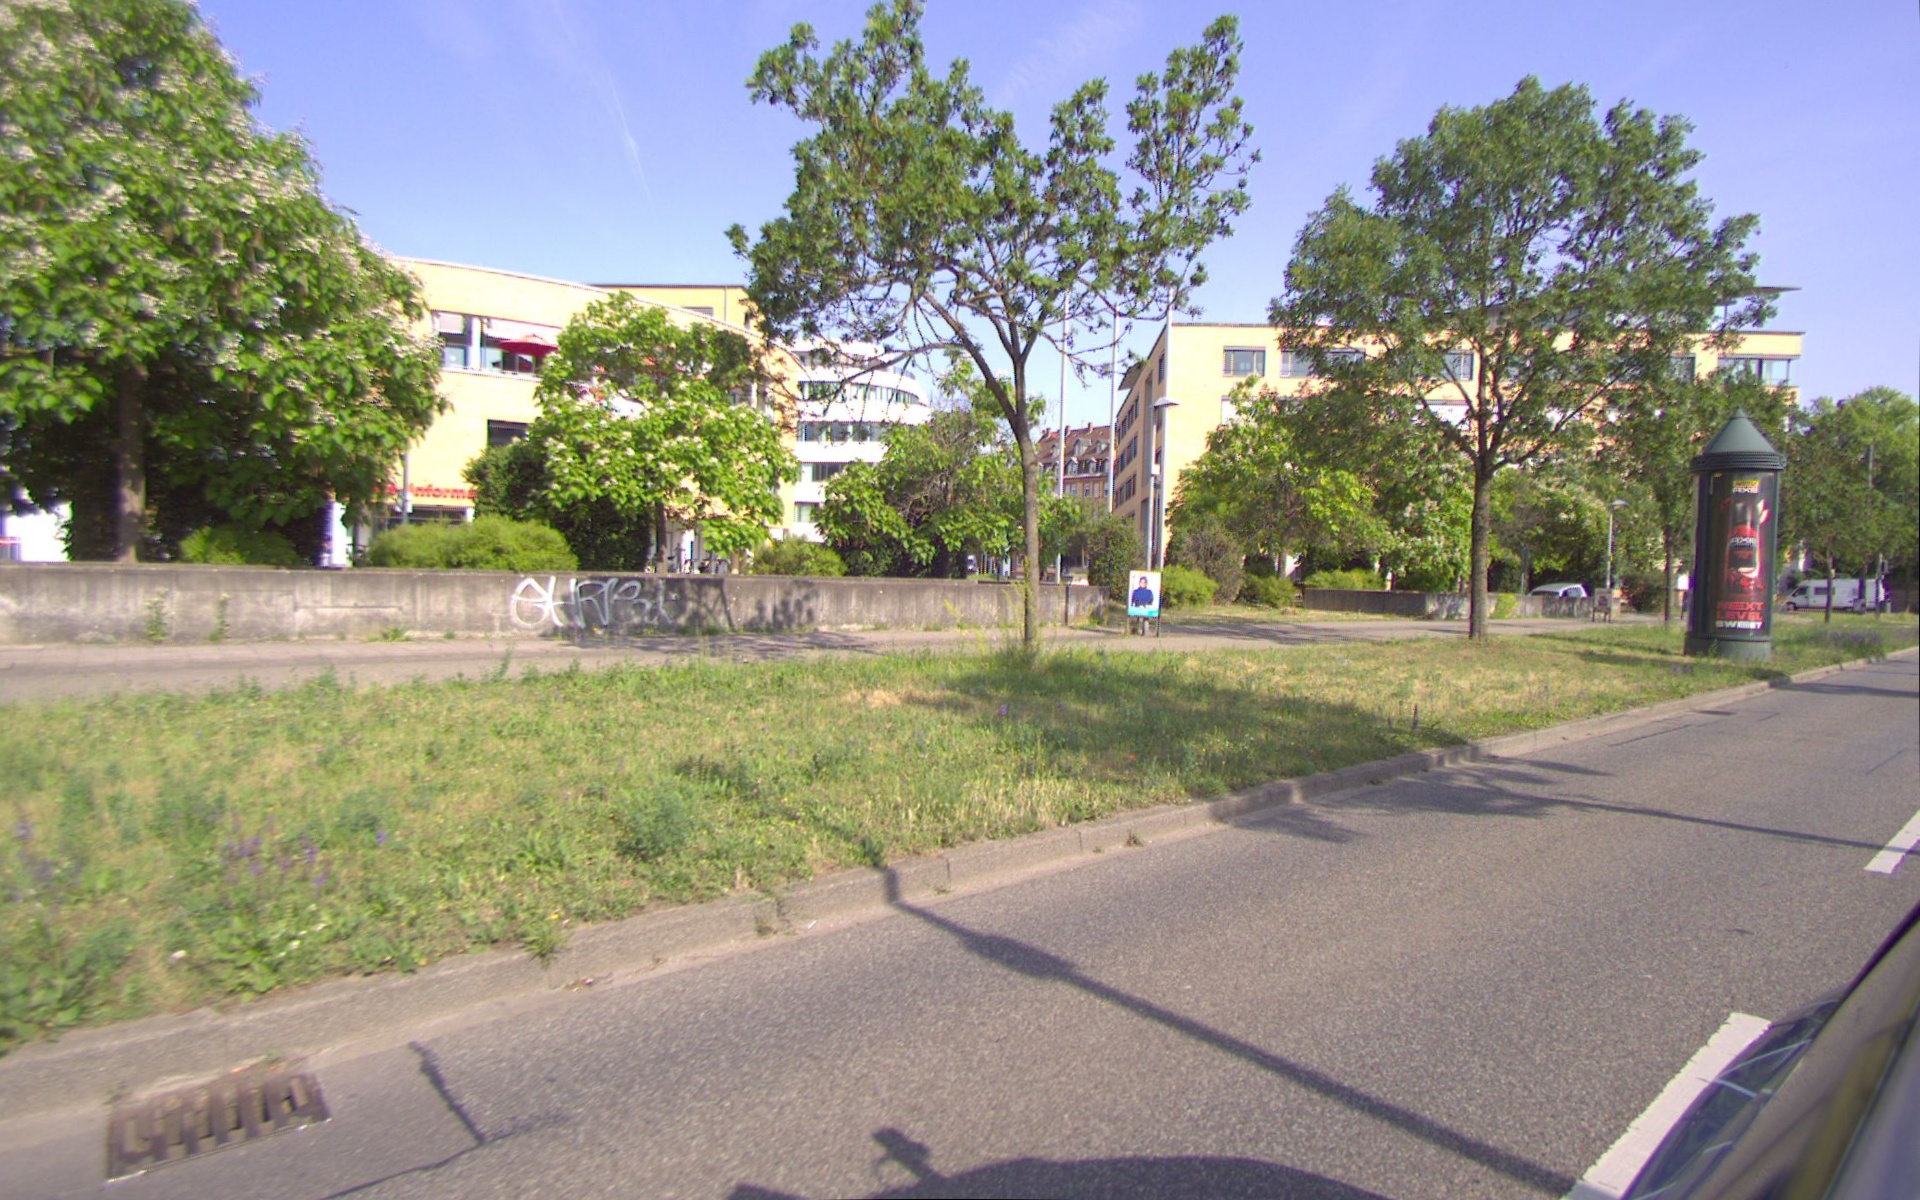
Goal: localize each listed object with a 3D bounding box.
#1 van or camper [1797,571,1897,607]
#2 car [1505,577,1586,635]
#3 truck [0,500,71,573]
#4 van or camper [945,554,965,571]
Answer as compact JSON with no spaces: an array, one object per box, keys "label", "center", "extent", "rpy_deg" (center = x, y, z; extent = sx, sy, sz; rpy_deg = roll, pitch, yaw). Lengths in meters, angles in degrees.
[{"label":"van or camper","center":[70.748,-0.891,80.788],"extent":[2.368,2.727,5.791],"rpy_deg":[0,1,-43]},{"label":"car","center":[25.842,0.216,44.619],"extent":[3.939,1.857,1.823],"rpy_deg":[-13,8,-40]},{"label":"truck","center":[-35.784,-2.366,39.153],"extent":[2.028,2.518,5.999],"rpy_deg":[0,0,-41]},{"label":"van or camper","center":[-0.913,-6.792,184.989],"extent":[2.372,2.941,5.710],"rpy_deg":[0,0,13]}]
